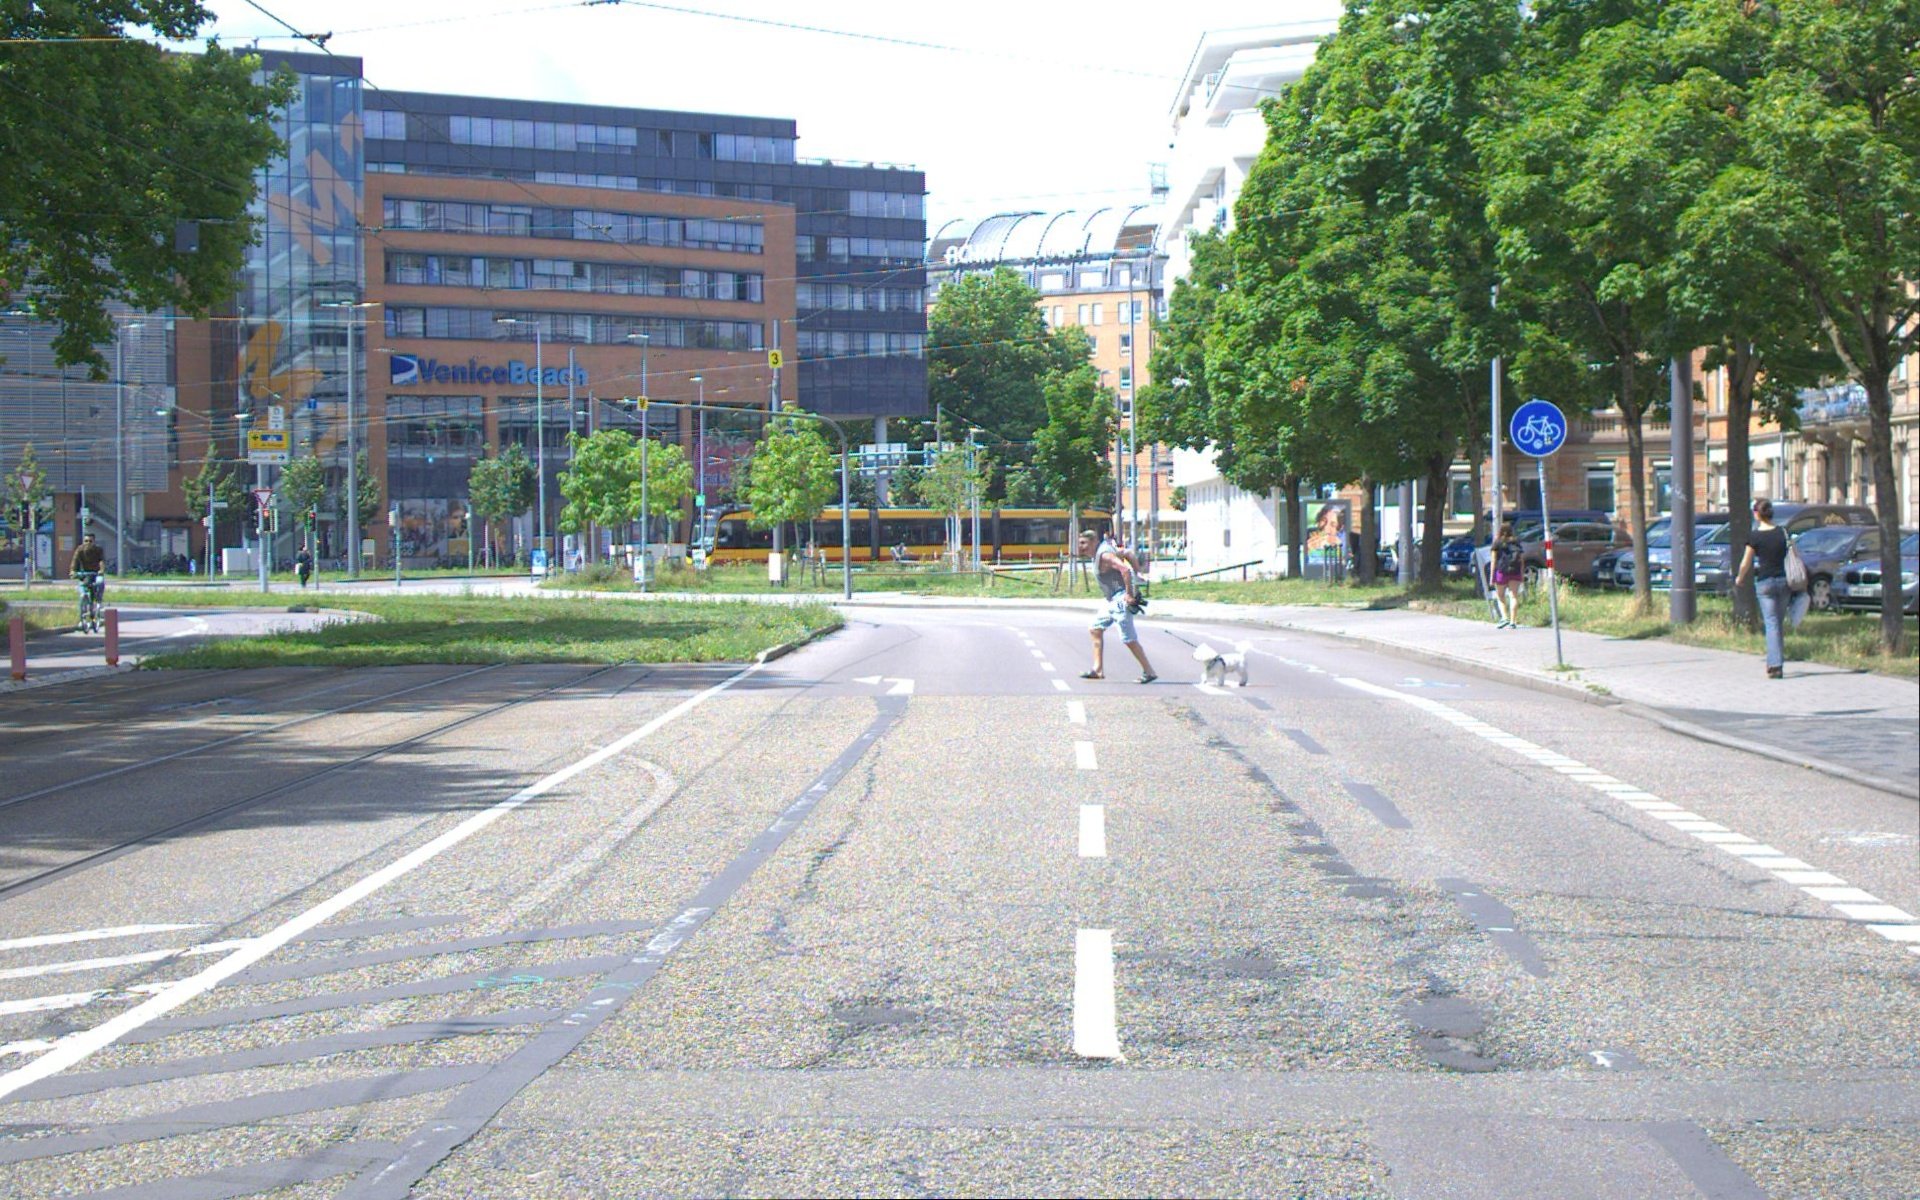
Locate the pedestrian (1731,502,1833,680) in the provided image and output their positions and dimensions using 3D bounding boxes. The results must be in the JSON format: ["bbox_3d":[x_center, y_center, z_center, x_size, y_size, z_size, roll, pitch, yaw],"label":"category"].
[{"bbox_3d":[7.974,-0.090,33.387,0.700,1.698,1.045,1,0,-1],"label":"pedestrian"}]

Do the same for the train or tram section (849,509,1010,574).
[{"bbox_3d":[-1.685,-3.355,199.296,3.062,3.591,10.968,1,1,38],"label":"train or tram section"}]

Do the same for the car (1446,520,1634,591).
[{"bbox_3d":[14.085,-1.067,83.462,4.160,1.650,1.917,1,1,-26],"label":"car"}]

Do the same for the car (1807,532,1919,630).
[{"bbox_3d":[14.581,-0.273,50.416,4.256,1.375,1.852,0,1,-36],"label":"car"}]

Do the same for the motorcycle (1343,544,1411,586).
[{"bbox_3d":[11.437,-0.962,94.276,1.783,1.163,0.640,0,1,-1],"label":"motorcycle"}]

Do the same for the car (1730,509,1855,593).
[{"bbox_3d":[22.496,-1.307,93.105,2.111,2.171,5.394,1,1,1],"label":"car"}]

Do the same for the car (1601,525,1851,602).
[{"bbox_3d":[14.396,-0.679,64.532,4.678,1.375,1.852,0,1,-34],"label":"car"}]

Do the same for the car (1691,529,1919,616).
[{"bbox_3d":[14.232,-0.447,56.739,4.256,1.375,1.852,0,1,-36],"label":"car"}]

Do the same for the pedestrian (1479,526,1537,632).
[{"bbox_3d":[8.331,-0.315,52.291,0.700,1.586,0.905,1,0,-1],"label":"pedestrian"}]

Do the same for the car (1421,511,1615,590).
[{"bbox_3d":[14.052,-1.233,86.497,4.614,1.921,1.917,0,1,-30],"label":"car"}]

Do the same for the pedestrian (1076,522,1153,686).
[{"bbox_3d":[1.616,0.037,36.054,0.781,1.698,0.702,1,0,2],"label":"pedestrian"}]

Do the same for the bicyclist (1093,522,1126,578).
[{"bbox_3d":[5.016,-1.687,115.072,0.695,1.818,0.955,-2,2,26],"label":"bicyclist"}]

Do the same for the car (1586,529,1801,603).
[{"bbox_3d":[14.489,-0.672,67.823,4.072,1.401,1.852,0,1,-35],"label":"car"}]

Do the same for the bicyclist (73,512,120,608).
[{"bbox_3d":[-15.534,-0.714,61.840,0.761,1.698,0.784,1,0,-17],"label":"bicyclist"}]

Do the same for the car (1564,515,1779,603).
[{"bbox_3d":[14.662,-0.842,70.821,4.136,1.735,1.852,0,1,-30],"label":"car"}]

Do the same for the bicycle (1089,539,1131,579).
[{"bbox_3d":[5.013,-1.374,115.058,0.694,1.238,1.837,-2,2,25],"label":"bicycle"}]

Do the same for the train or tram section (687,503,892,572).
[{"bbox_3d":[-9.276,-3.394,189.841,3.223,3.587,13.470,1,1,38],"label":"train or tram section"}]

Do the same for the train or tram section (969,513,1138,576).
[{"bbox_3d":[5.769,-3.350,208.519,3.062,3.608,12.606,1,1,40],"label":"train or tram section"}]

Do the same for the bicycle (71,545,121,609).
[{"bbox_3d":[-15.537,-0.421,61.817,0.790,1.106,2.277,1,1,-16],"label":"bicycle"}]

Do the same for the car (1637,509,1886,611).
[{"bbox_3d":[14.163,-0.696,60.678,4.352,1.735,1.852,0,1,-36],"label":"car"}]
